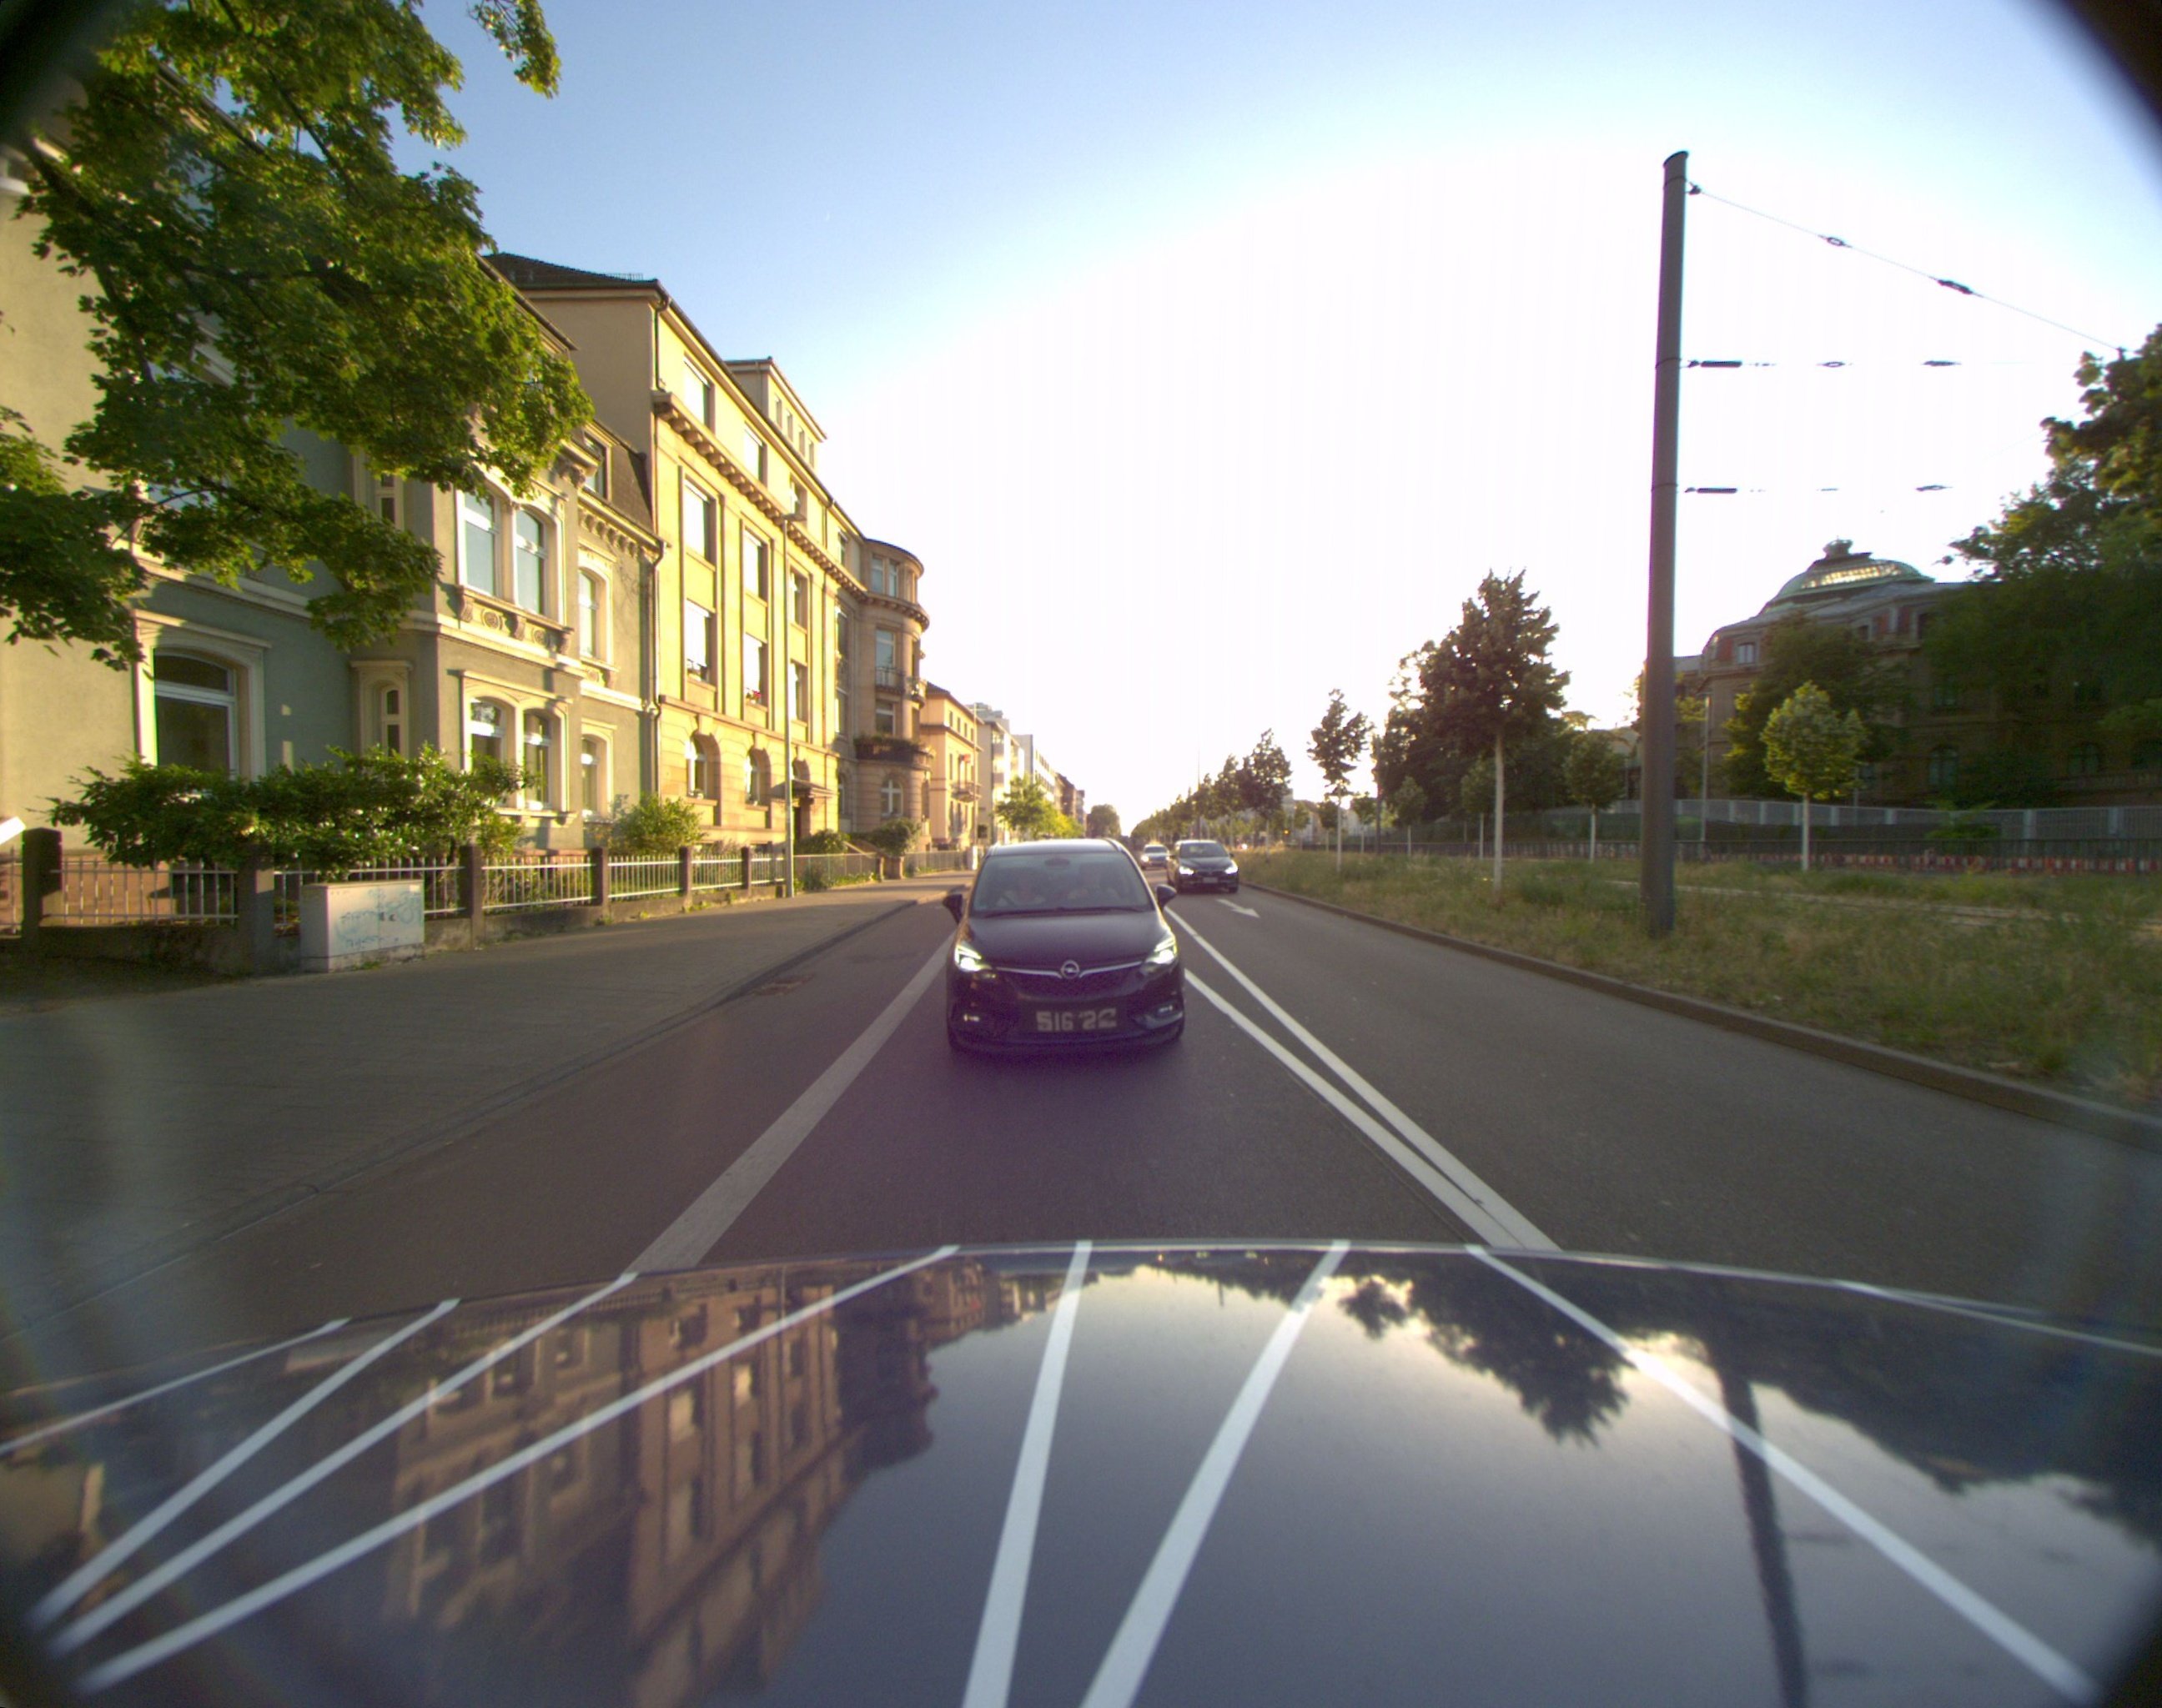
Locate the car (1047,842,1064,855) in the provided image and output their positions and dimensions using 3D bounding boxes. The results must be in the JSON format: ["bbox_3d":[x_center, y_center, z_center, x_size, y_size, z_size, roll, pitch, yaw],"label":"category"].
[{"bbox_3d":[-3.081,-0.659,93.117,1.937,1.473,4.100,-1,1,1],"label":"car"}]

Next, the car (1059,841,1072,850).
[{"bbox_3d":[-2.449,-1.379,122.958,1.937,1.473,4.100,-1,1,1],"label":"car"}]

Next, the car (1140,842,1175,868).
[{"bbox_3d":[4.582,0.057,45.984,1.859,1.425,4.843,-2,0,3],"label":"car"}]

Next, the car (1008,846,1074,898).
[{"bbox_3d":[-1.186,0.513,24.056,1.859,1.425,4.842,-2,0,-1],"label":"car"}]

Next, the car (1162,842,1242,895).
[{"bbox_3d":[3.655,0.421,23.747,1.859,1.425,4.843,-2,0,2],"label":"car"}]

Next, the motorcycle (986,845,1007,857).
[{"bbox_3d":[-7.953,-0.314,71.373,1.848,1.091,0.576,-1,1,7],"label":"motorcycle"}]

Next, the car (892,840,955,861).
[{"bbox_3d":[-11.386,-0.272,55.022,4.096,1.473,1.938,-1,1,2],"label":"car"}]

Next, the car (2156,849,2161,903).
[{"bbox_3d":[30.627,0.574,18.695,1.998,1.472,4.523,-2,0,2],"label":"car"}]

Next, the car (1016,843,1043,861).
[{"bbox_3d":[-4.290,-0.177,63.966,1.882,1.394,4.100,-1,1,1],"label":"car"}]

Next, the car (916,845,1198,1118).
[{"bbox_3d":[-0.292,0.777,7.263,1.771,1.649,4.849,-1,1,-4],"label":"car"}]
